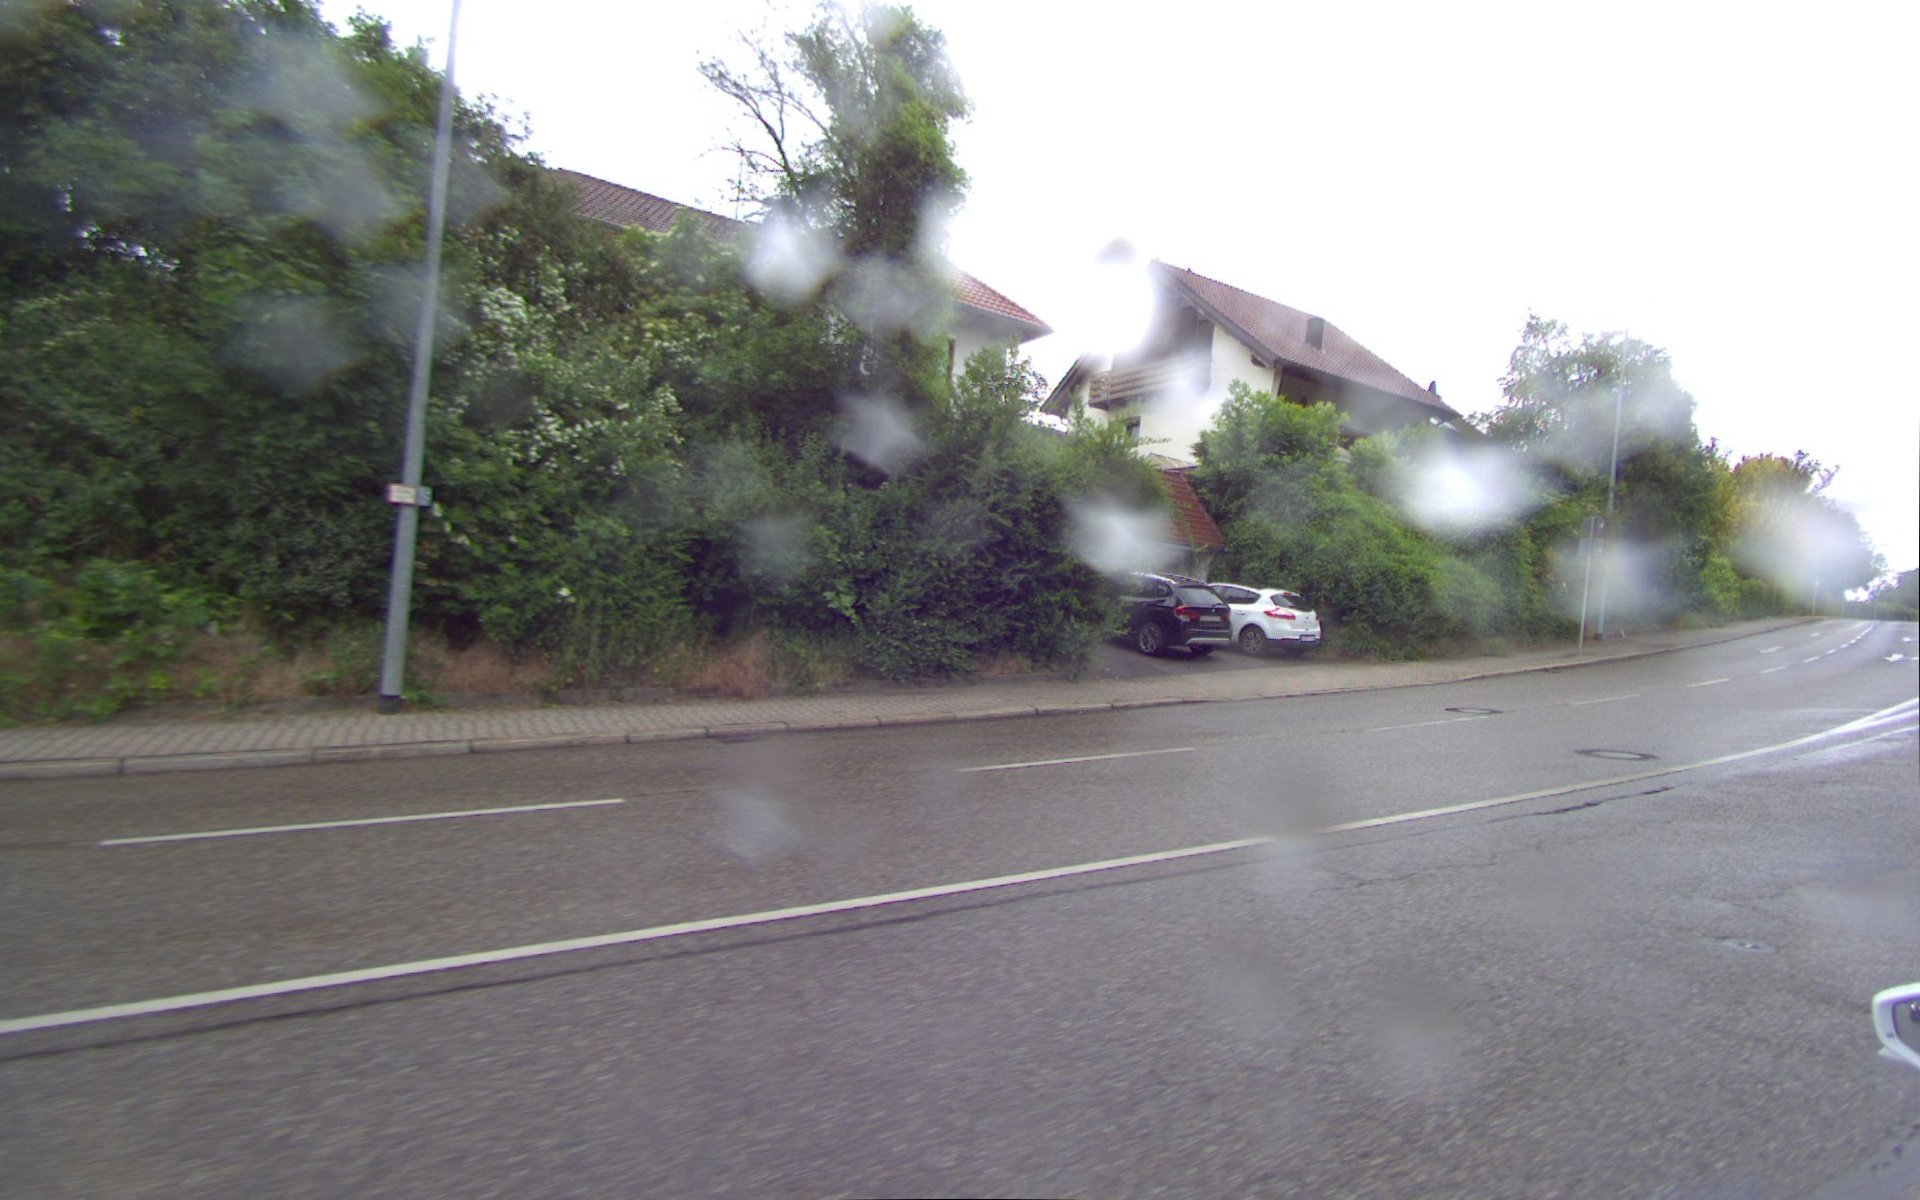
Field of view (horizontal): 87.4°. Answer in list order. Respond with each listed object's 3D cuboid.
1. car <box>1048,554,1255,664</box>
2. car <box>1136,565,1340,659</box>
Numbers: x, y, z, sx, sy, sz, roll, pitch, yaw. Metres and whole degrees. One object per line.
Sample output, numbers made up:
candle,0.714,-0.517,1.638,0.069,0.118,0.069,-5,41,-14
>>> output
car,3.910,0.125,21.139,1.838,1.701,3.958,2,7,-37
car,6.122,0.214,22.483,1.841,1.467,3.952,1,7,-41
